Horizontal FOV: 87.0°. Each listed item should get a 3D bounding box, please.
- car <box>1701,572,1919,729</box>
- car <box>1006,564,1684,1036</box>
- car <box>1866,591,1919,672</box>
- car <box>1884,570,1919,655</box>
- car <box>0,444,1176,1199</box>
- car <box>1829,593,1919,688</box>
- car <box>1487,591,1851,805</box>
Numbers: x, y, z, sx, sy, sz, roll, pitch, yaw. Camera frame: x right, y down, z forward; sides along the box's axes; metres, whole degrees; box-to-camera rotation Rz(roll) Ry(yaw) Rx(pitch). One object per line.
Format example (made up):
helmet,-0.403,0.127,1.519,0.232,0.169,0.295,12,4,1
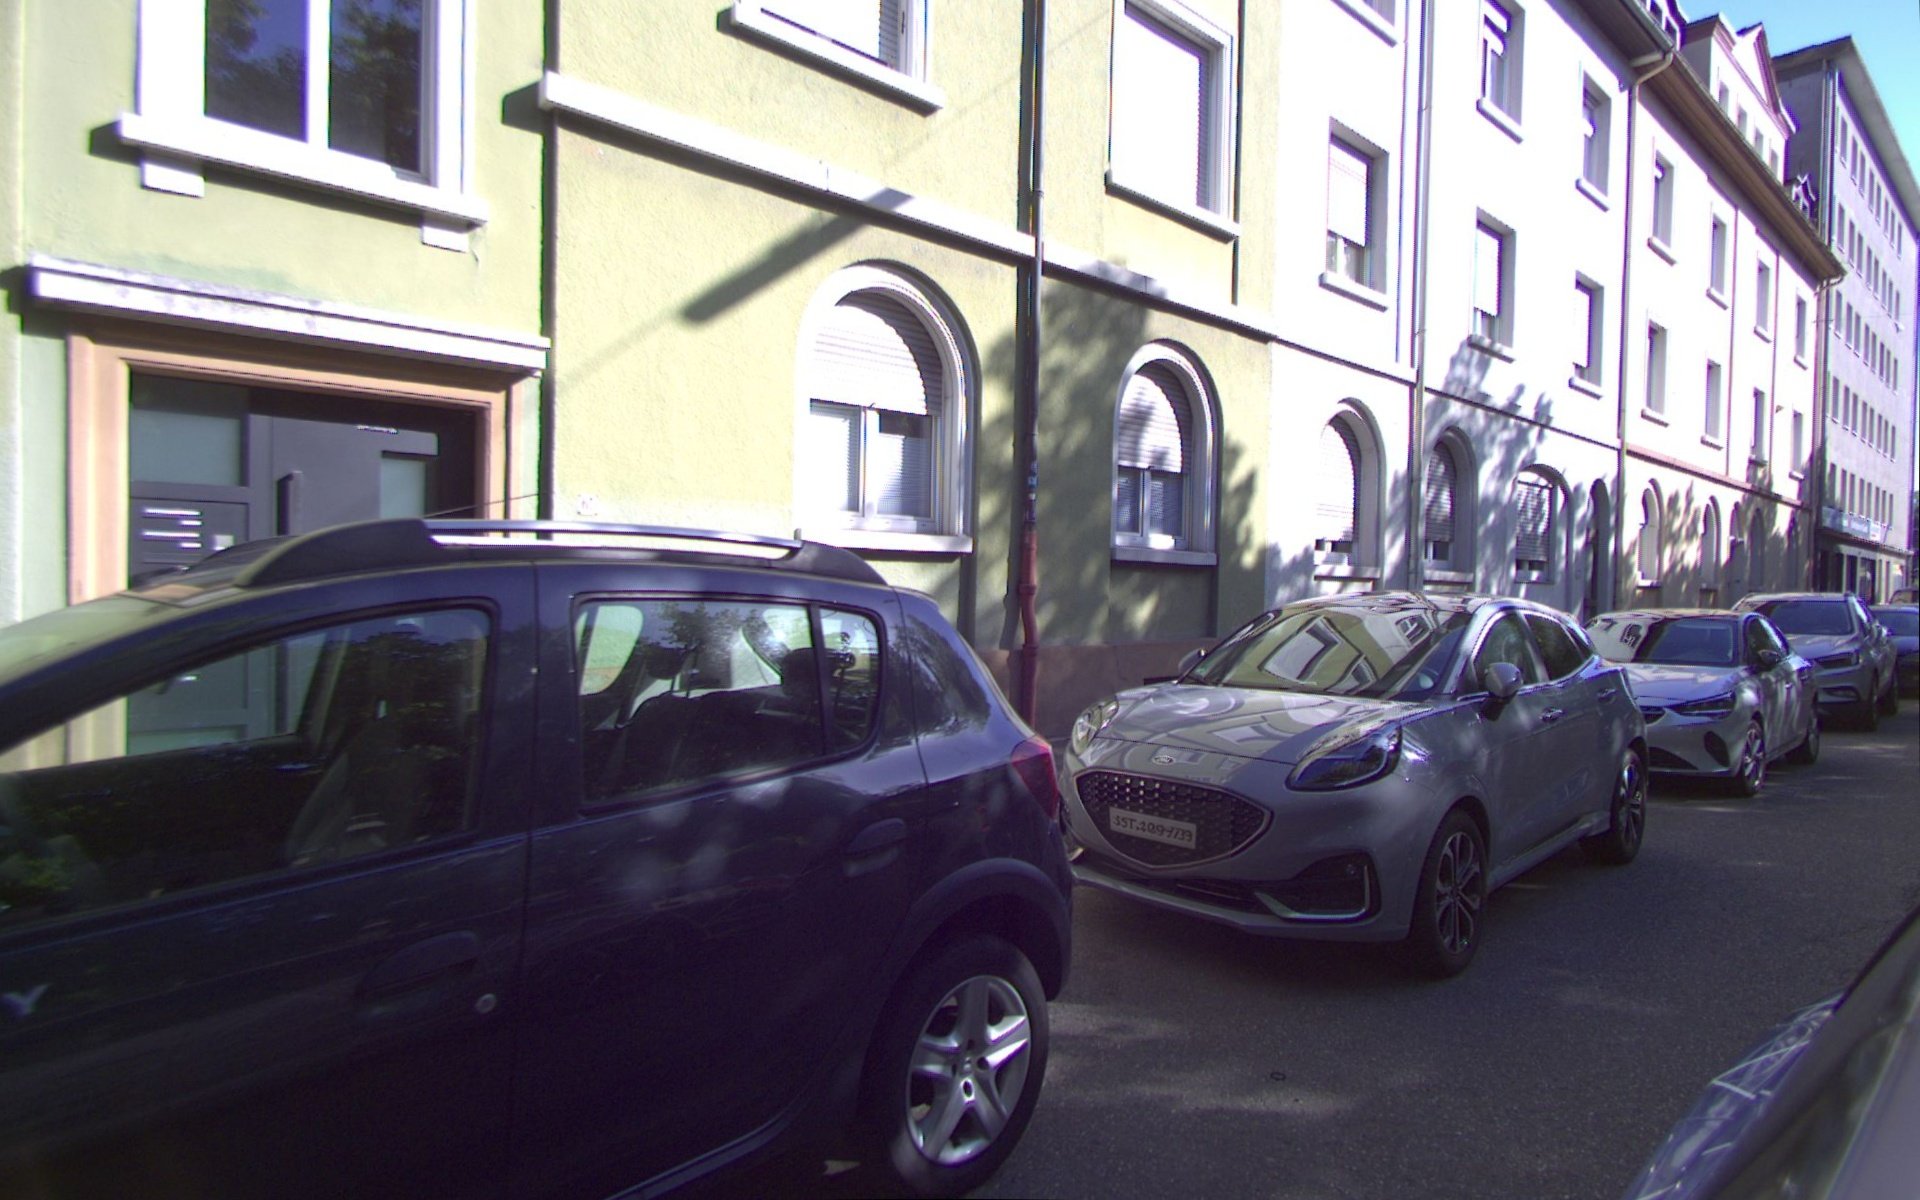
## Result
car,11.150,0.534,13.156,4.088,1.707,1.724,0,1,-43
car,2.291,0.628,5.355,4.088,1.547,1.724,0,1,-43
car,19.484,0.607,20.308,3.534,1.517,1.623,0,1,-43
car,23.706,0.289,24.077,4.760,1.924,1.952,0,1,-41
car,-1.445,0.597,2.125,4.089,1.616,1.724,0,2,-44
car,15.737,0.609,16.894,3.798,1.411,1.550,0,2,-45
car,6.448,0.671,9.031,4.085,1.450,1.725,0,1,-41
